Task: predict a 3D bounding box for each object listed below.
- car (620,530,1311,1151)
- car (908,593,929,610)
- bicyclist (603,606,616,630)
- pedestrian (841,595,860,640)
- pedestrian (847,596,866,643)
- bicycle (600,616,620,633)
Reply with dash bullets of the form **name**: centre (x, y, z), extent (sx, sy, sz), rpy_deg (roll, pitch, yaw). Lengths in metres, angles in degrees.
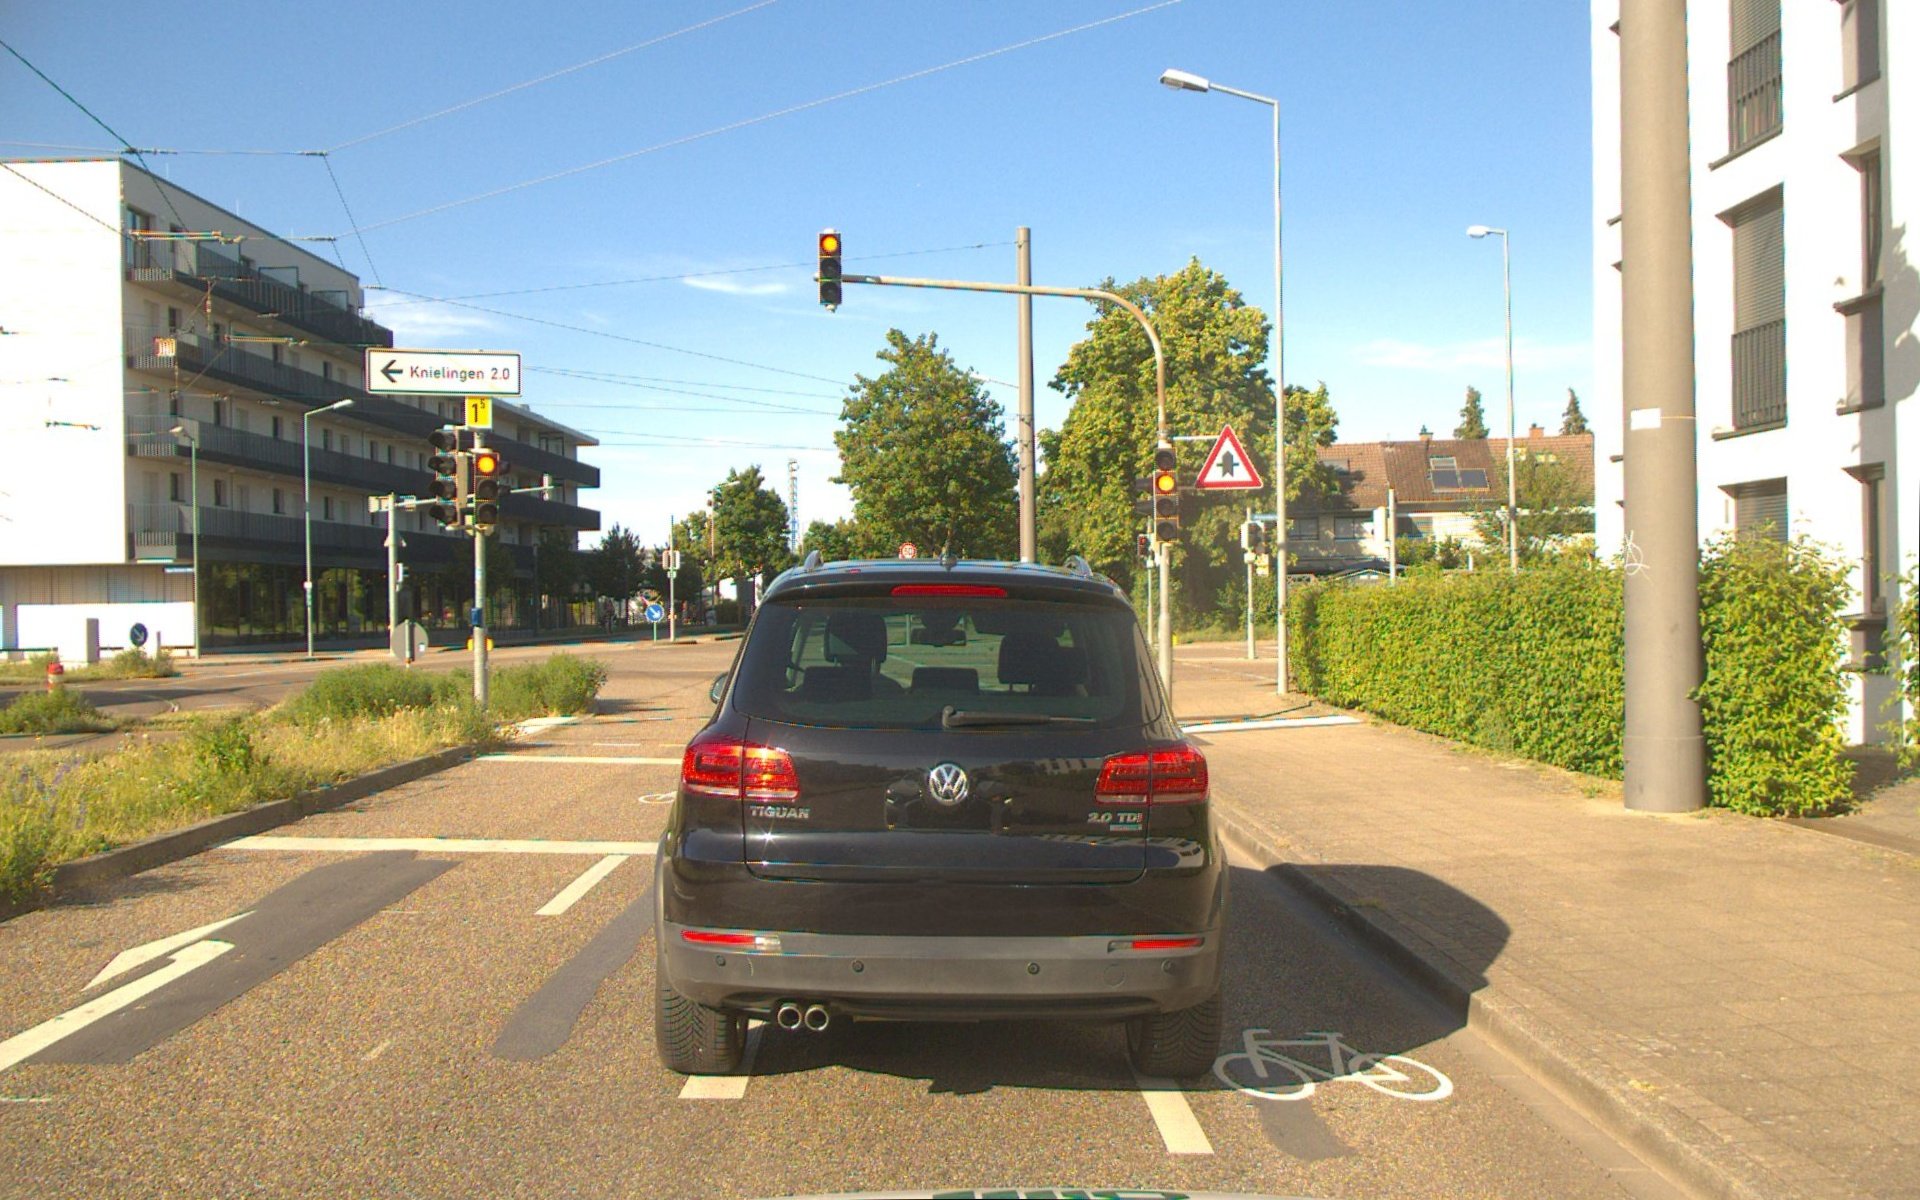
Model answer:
- **car**: centre (-0.046, 0.646, 6.495), extent (1.867, 1.671, 3.998), rpy_deg (0, 0, -2)
- **car**: centre (-3.564, 0.124, 140.717), extent (1.716, 1.411, 3.998), rpy_deg (0, 0, -2)
- **bicyclist**: centre (-18.281, 0.940, 86.247), extent (0.464, 1.245, 0.713), rpy_deg (0, 0, 3)
- **pedestrian**: centre (-3.921, 0.633, 59.172), extent (0.590, 1.592, 0.529), rpy_deg (0, 0, 4)
- **pedestrian**: centre (-3.747, 0.702, 59.868), extent (0.590, 1.668, 0.529), rpy_deg (0, 0, 4)
- **bicycle**: centre (-18.267, 1.291, 86.410), extent (0.485, 0.863, 2.079), rpy_deg (0, 0, 3)
